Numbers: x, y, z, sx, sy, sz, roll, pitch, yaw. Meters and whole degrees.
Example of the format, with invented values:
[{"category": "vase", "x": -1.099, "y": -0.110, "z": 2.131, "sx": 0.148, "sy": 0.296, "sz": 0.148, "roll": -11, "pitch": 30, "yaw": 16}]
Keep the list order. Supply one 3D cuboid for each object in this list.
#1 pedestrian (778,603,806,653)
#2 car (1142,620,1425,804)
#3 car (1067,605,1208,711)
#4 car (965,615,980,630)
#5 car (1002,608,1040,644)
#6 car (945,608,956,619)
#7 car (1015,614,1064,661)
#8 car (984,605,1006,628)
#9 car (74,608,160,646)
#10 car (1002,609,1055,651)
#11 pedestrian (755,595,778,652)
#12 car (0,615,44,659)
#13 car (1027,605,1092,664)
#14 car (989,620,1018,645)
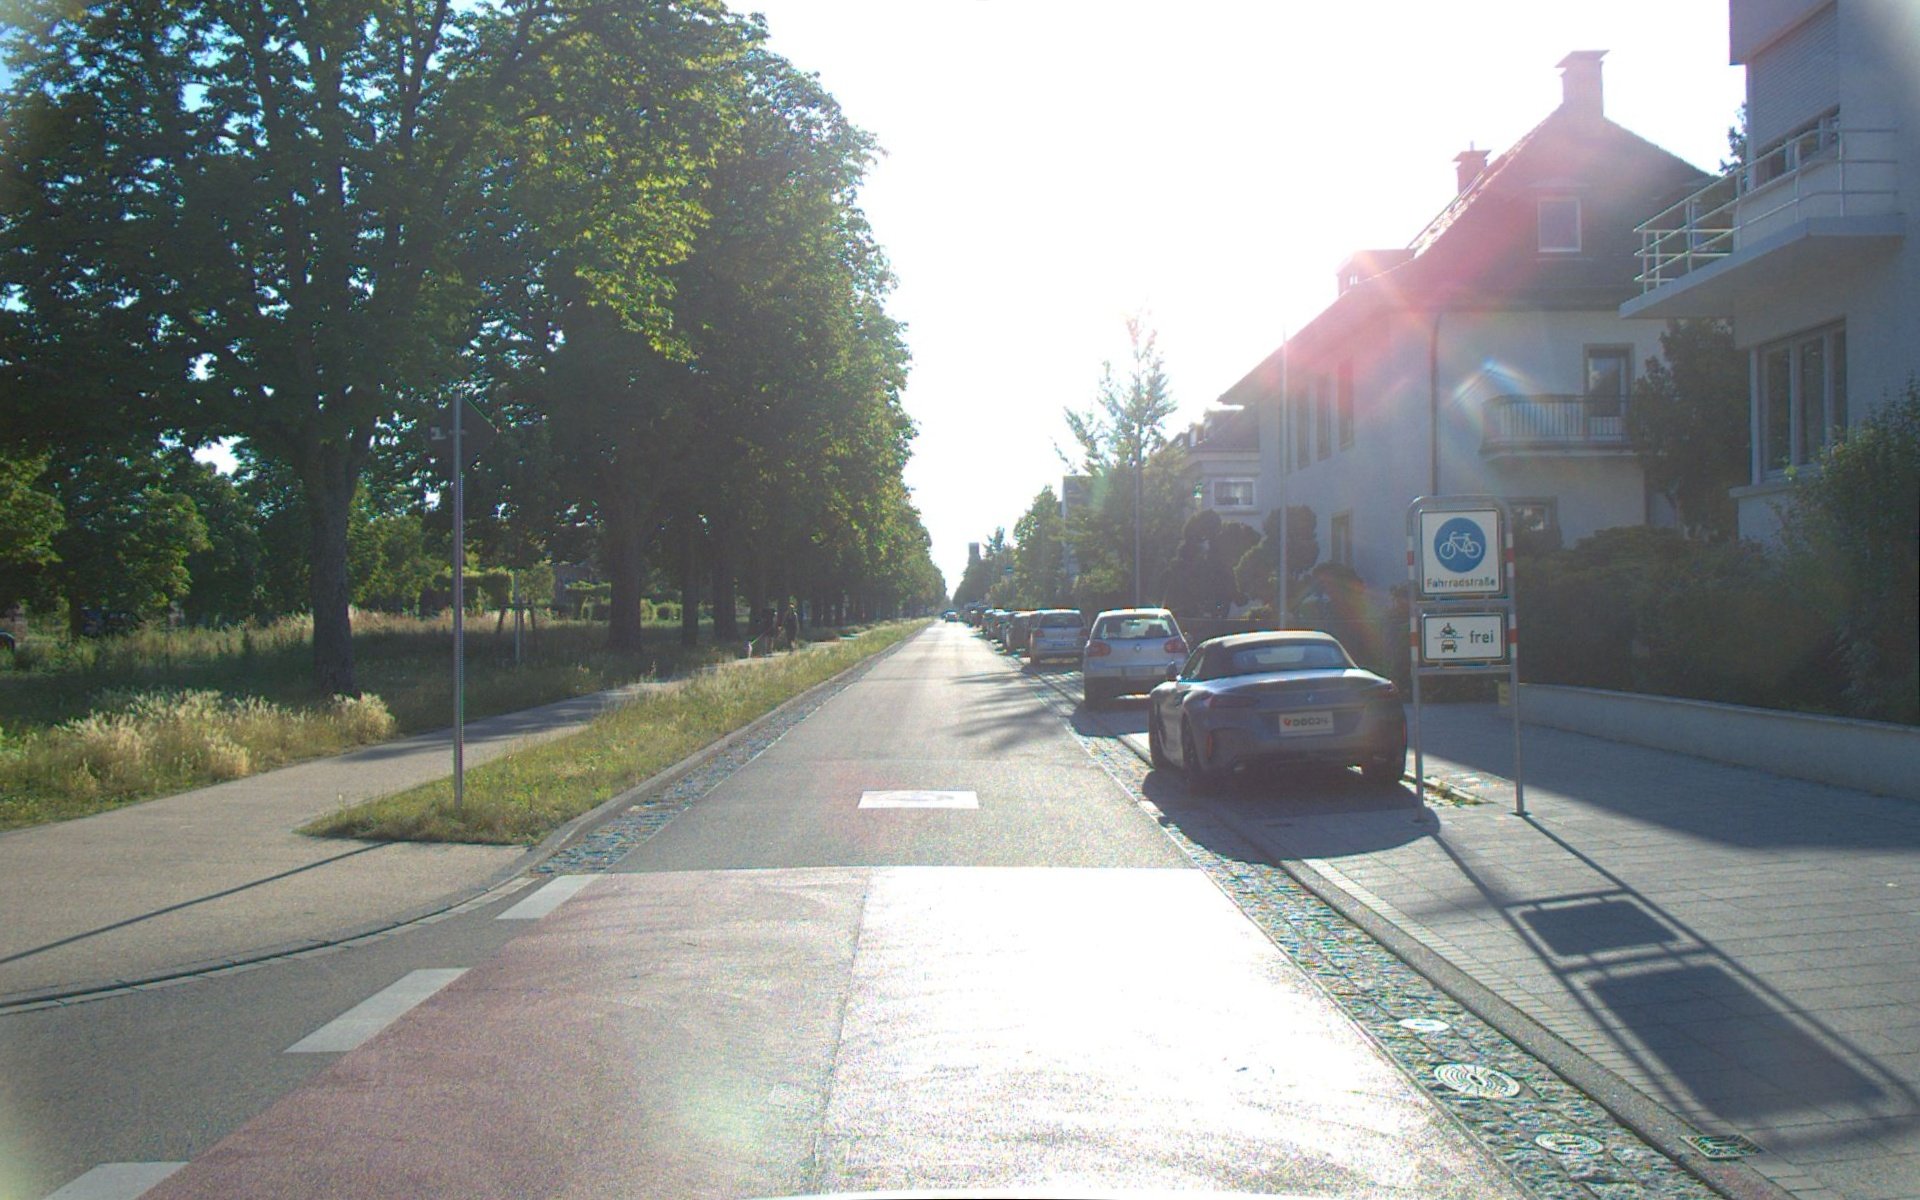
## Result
[{"category": "pedestrian", "x": -5.558, "y": 0.922, "z": 54.724, "sx": 0.767, "sy": 1.643, "sz": 0.952, "roll": 0, "pitch": -1, "yaw": 3}, {"category": "car", "x": 2.822, "y": 0.918, "z": 15.361, "sx": 1.738, "sy": 1.311, "sz": 4.272, "roll": -3, "pitch": 0, "yaw": 0}, {"category": "car", "x": 2.801, "y": 0.895, "z": 26.891, "sx": 1.709, "sy": 1.500, "sz": 3.921, "roll": -3, "pitch": 0, "yaw": -1}, {"category": "car", "x": 1.368, "y": 2.414, "z": 176.759, "sx": 1.618, "sy": 1.568, "sz": 3.266, "roll": 1, "pitch": -1, "yaw": 1}, {"category": "car", "x": 2.672, "y": 1.139, "z": 72.947, "sx": 1.560, "sy": 1.536, "sz": 3.591, "roll": -1, "pitch": -1, "yaw": 0}, {"category": "car", "x": -1.437, "y": 2.051, "z": 242.153, "sx": 1.618, "sy": 1.568, "sz": 3.266, "roll": 1, "pitch": -1, "yaw": 0}, {"category": "car", "x": 2.792, "y": 1.289, "z": 57.788, "sx": 1.623, "sy": 1.520, "sz": 3.717, "roll": -2, "pitch": -1, "yaw": 3}, {"category": "car", "x": 2.402, "y": 1.149, "z": 115.046, "sx": 1.467, "sy": 1.594, "sz": 3.266, "roll": -1, "pitch": -1, "yaw": 1}, {"category": "car", "x": -36.852, "y": 1.176, "z": 72.402, "sx": 1.658, "sy": 1.625, "sz": 4.220, "roll": 0, "pitch": 0, "yaw": -1}, {"category": "car", "x": 2.587, "y": 1.143, "z": 63.201, "sx": 1.701, "sy": 1.474, "sz": 4.195, "roll": -2, "pitch": -1, "yaw": -2}, {"category": "pedestrian", "x": -6.372, "y": 0.775, "z": 54.547, "sx": 0.611, "sy": 1.863, "sz": 0.886, "roll": 0, "pitch": -1, "yaw": 3}, {"category": "car", "x": -36.440, "y": 1.375, "z": 62.201, "sx": 1.658, "sy": 1.625, "sz": 4.220, "roll": 0, "pitch": 0, "yaw": -1}, {"category": "car", "x": 2.788, "y": 0.942, "z": 46.819, "sx": 1.594, "sy": 1.531, "sz": 3.633, "roll": -2, "pitch": 0, "yaw": 0}, {"category": "car", "x": 2.523, "y": 1.878, "z": 95.879, "sx": 1.618, "sy": 1.421, "sz": 3.266, "roll": -1, "pitch": -1, "yaw": 1}]
